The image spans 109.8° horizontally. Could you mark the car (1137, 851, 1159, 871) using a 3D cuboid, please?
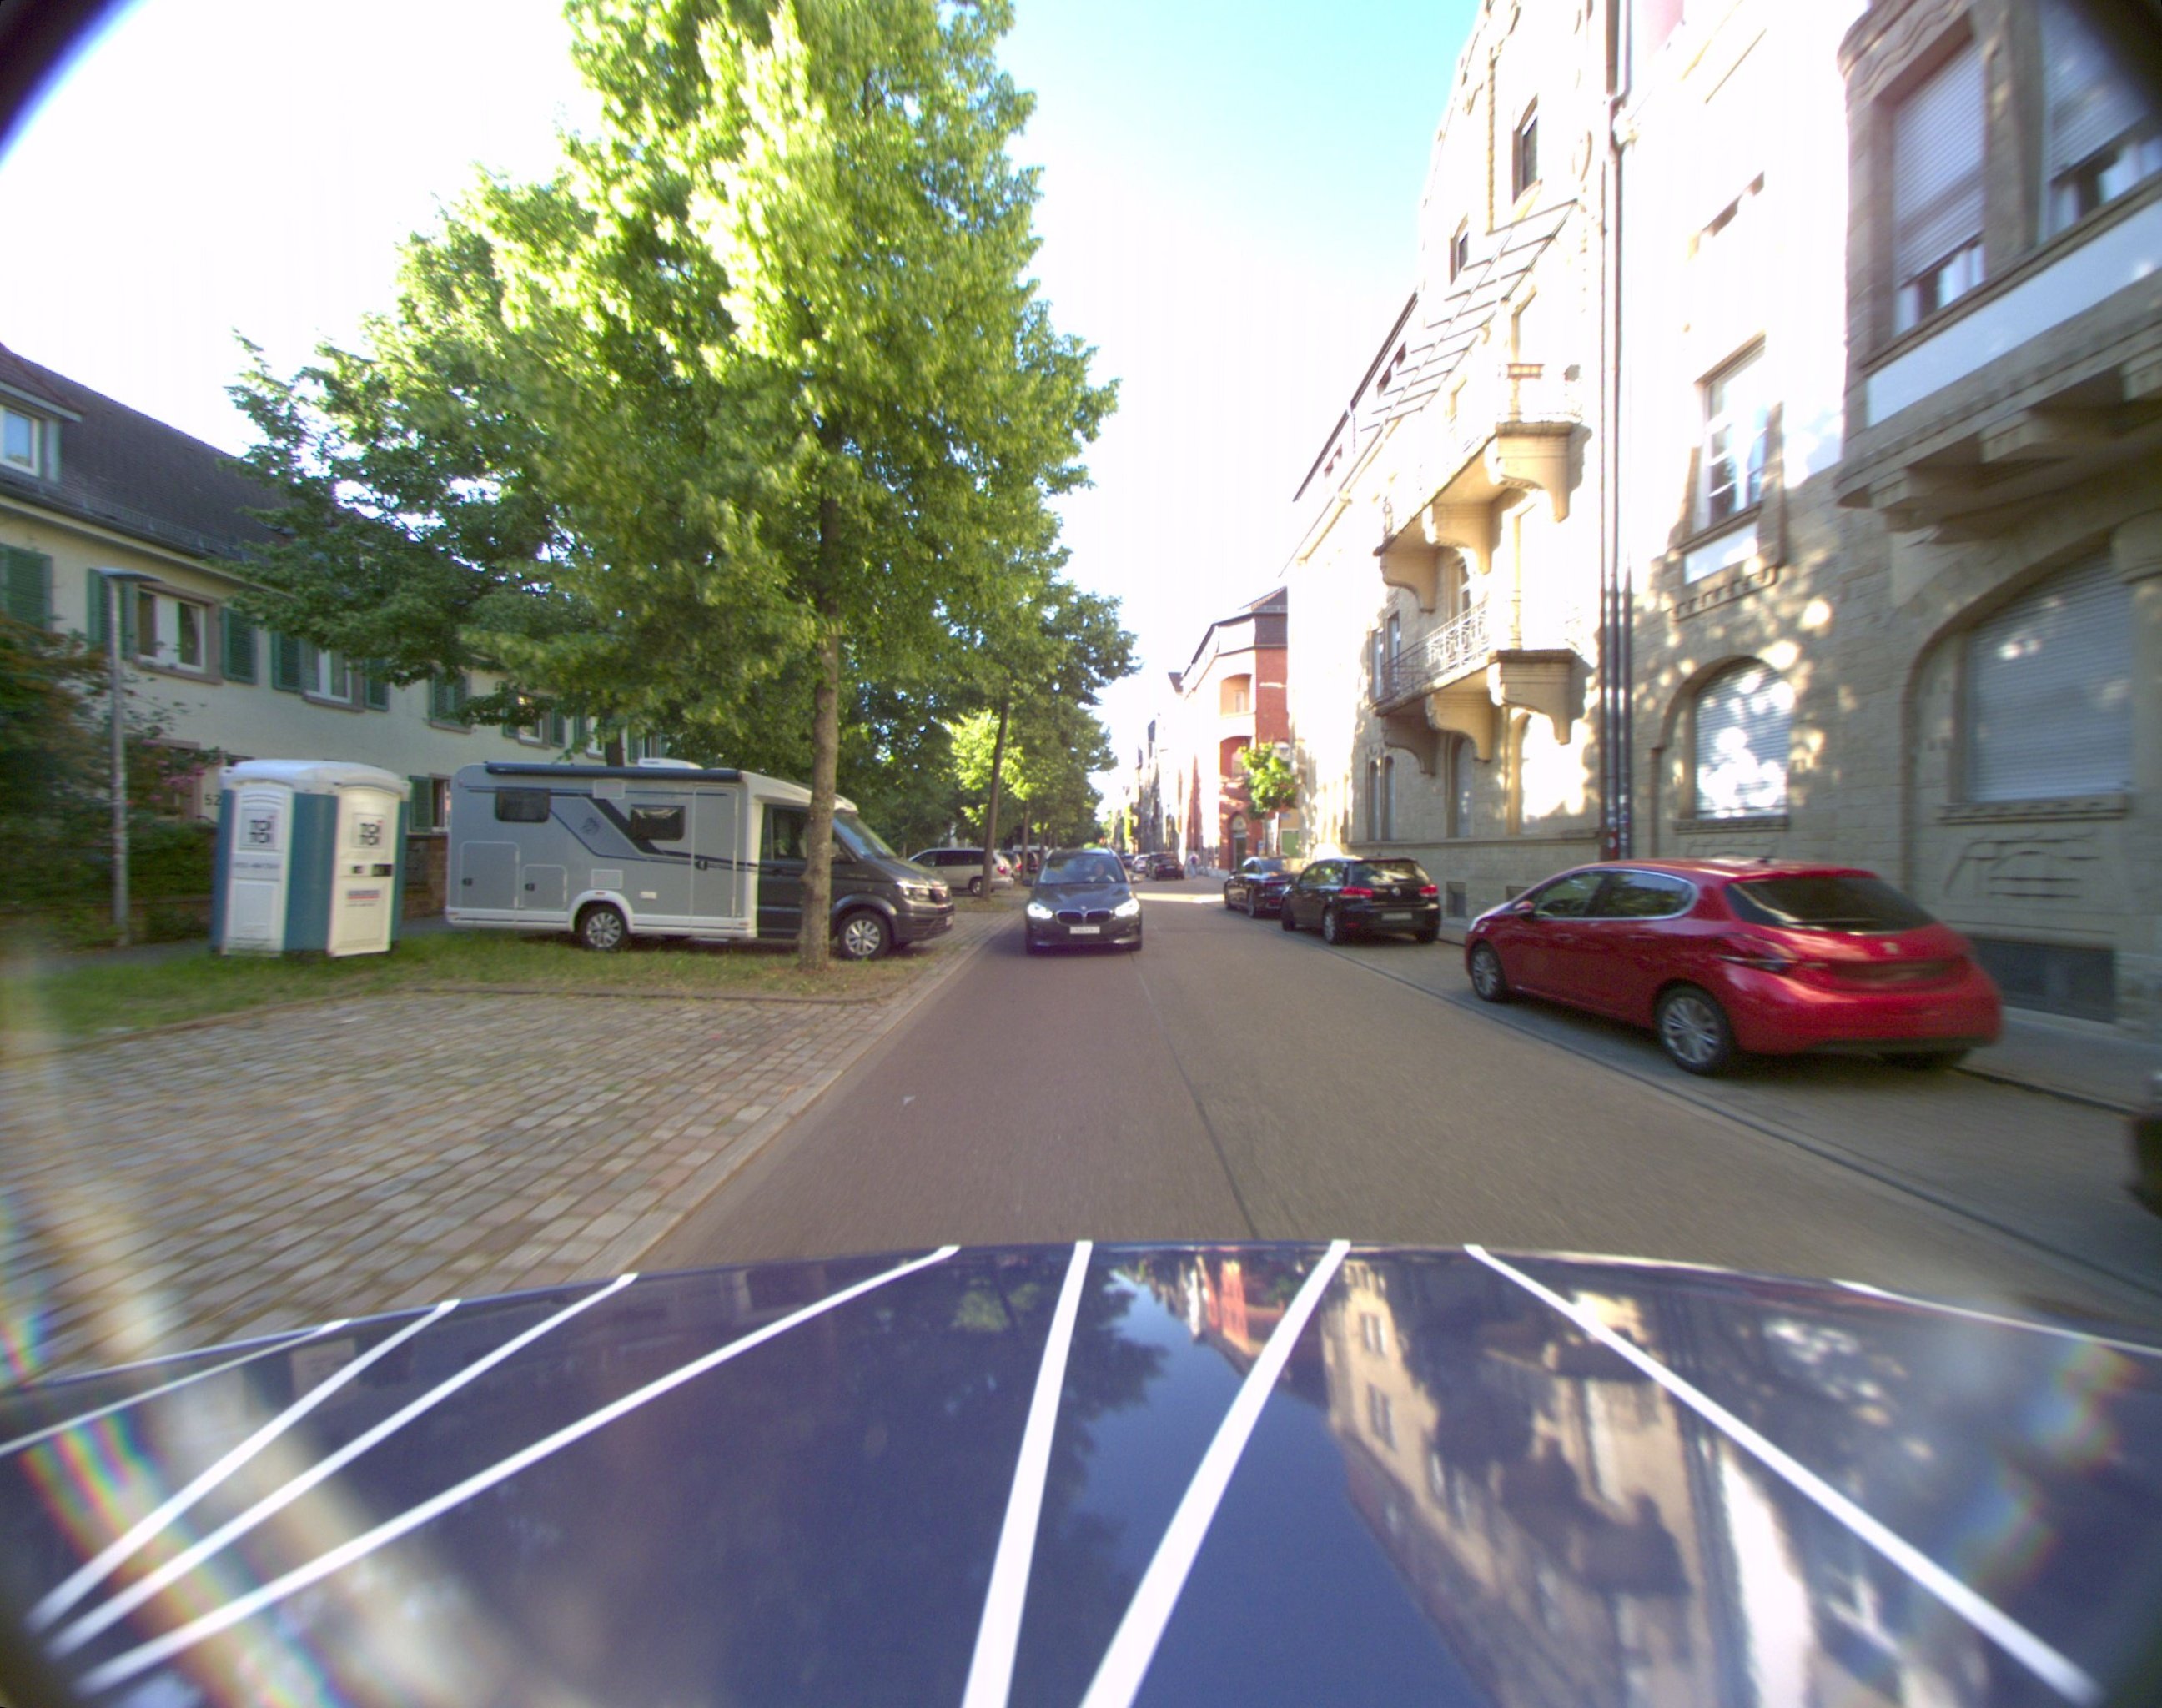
[{"bbox_3d":[5.316,0.549,60.853,1.570,1.462,3.592,-1,0,2],"label":"car"}]

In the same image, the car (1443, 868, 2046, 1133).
[{"bbox_3d":[4.838,0.895,6.393,1.633,1.445,3.837,-1,0,-2],"label":"car"}]

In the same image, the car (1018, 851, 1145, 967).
[{"bbox_3d":[0.049,0.794,13.156,1.753,1.596,4.550,-2,0,1],"label":"car"}]

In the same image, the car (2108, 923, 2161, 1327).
[{"bbox_3d":[4.606,0.931,0.516,1.679,1.422,4.550,-2,0,1],"label":"car"}]

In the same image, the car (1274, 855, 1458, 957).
[{"bbox_3d":[4.815,0.790,13.473,1.700,1.445,4.026,0,1,-1],"label":"car"}]

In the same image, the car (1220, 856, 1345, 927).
[{"bbox_3d":[4.868,0.831,19.132,1.816,1.418,4.897,-3,1,0],"label":"car"}]

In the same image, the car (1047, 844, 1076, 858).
[{"bbox_3d":[-3.626,-0.560,142.186,5.448,2.646,2.134,1,0,1],"label":"car"}]

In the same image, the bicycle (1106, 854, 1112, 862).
[{"bbox_3d":[3.739,0.538,102.299,0.759,1.101,1.907,1,1,0],"label":"bicycle"}]

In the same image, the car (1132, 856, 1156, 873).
[{"bbox_3d":[5.458,0.909,66.391,1.681,1.434,4.111,-2,0,-1],"label":"car"}]

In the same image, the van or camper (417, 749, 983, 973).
[{"bbox_3d":[-5.305,0.074,11.369,7.163,2.632,2.465,3,1,2],"label":"van or camper"}]

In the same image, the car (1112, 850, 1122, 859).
[{"bbox_3d":[6.778,0.100,143.819,1.686,1.496,3.629,-4,-1,2],"label":"car"}]

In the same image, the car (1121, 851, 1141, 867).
[{"bbox_3d":[5.408,0.533,82.274,1.881,1.707,4.339,-1,0,0],"label":"car"}]

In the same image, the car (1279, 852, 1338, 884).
[{"bbox_3d":[11.469,0.661,38.623,1.640,1.460,4.657,-1,1,1],"label":"car"}]

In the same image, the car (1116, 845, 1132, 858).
[{"bbox_3d":[5.676,-0.394,100.776,1.774,1.658,4.212,-1,1,0],"label":"car"}]

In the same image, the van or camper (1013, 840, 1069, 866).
[{"bbox_3d":[-4.268,-0.112,81.446,5.734,2.502,2.162,3,1,0],"label":"van or camper"}]

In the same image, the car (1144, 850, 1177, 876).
[{"bbox_3d":[5.384,0.563,51.744,1.673,1.671,4.349,-1,1,-1],"label":"car"}]

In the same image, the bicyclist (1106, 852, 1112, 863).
[{"bbox_3d":[3.735,0.436,102.248,0.761,1.445,0.948,1,1,0],"label":"bicyclist"}]

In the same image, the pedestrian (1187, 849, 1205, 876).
[{"bbox_3d":[6.974,0.531,46.116,0.890,1.568,1.053,-1,2,1],"label":"pedestrian"}]

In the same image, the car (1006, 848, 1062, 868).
[{"bbox_3d":[-4.136,0.335,67.999,4.850,1.530,1.894,3,0,-1],"label":"car"}]

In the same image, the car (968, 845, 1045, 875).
[{"bbox_3d":[-4.732,0.351,48.791,4.592,1.667,1.907,3,1,2],"label":"car"}]

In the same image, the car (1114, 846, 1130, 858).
[{"bbox_3d":[5.051,-0.268,94.154,1.774,1.493,4.211,0,2,0],"label":"car"}]

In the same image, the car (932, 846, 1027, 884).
[{"bbox_3d":[-5.053,0.526,38.117,4.552,1.624,1.811,3,1,-5],"label":"car"}]

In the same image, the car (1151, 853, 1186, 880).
[{"bbox_3d":[5.222,0.718,45.770,1.640,1.402,4.333,-3,1,1],"label":"car"}]

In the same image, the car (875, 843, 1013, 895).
[{"bbox_3d":[-4.930,0.526,27.816,4.630,1.700,1.833,2,0,2],"label":"car"}]
